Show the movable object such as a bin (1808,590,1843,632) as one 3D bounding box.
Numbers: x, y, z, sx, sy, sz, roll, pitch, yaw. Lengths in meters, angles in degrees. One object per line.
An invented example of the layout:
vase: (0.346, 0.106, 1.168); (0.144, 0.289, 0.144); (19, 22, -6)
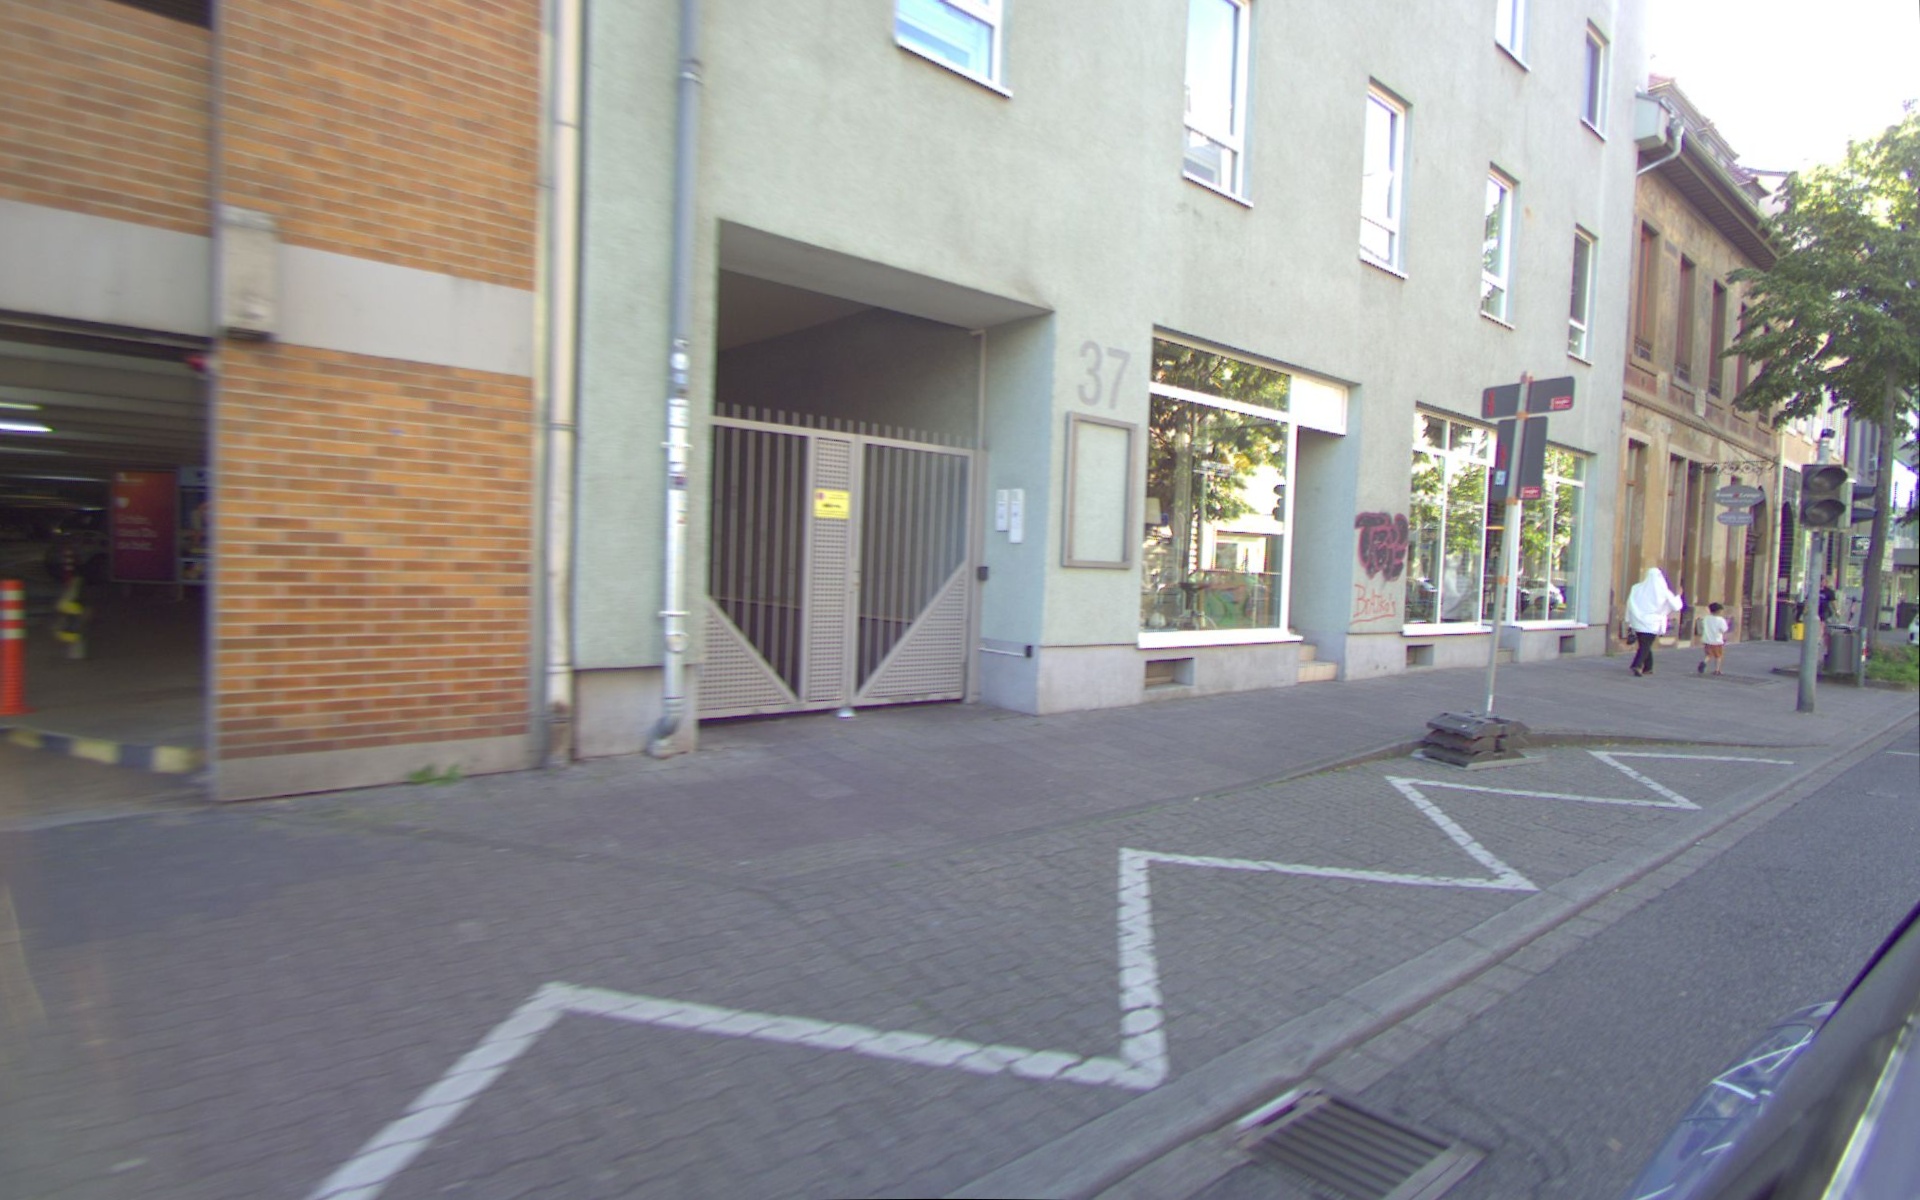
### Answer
movable object such as a bin: (22.922, 0.287, 26.805); (0.709, 1.052, 0.523); (0, 5, -39)

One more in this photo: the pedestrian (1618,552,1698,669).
pedestrian: (10.002, 0.138, 14.499); (1.003, 1.577, 0.582); (0, 6, -42)

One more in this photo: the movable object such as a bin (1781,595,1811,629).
movable object such as a bin: (22.489, 0.316, 27.229); (0.470, 0.870, 0.512); (0, 3, -39)

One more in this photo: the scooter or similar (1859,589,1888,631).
scooter or similar: (27.268, 0.277, 30.208); (1.147, 1.201, 0.400); (0, 5, -40)

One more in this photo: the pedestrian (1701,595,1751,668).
pedestrian: (11.720, 0.473, 15.479); (0.727, 1.045, 0.394); (0, 6, -42)

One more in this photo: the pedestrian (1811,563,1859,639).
pedestrian: (21.468, 0.011, 24.839); (0.757, 1.786, 0.625); (0, 5, -39)

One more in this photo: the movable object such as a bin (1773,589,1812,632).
movable object such as a bin: (21.465, 0.265, 26.095); (0.709, 1.052, 0.590); (0, 5, -39)
